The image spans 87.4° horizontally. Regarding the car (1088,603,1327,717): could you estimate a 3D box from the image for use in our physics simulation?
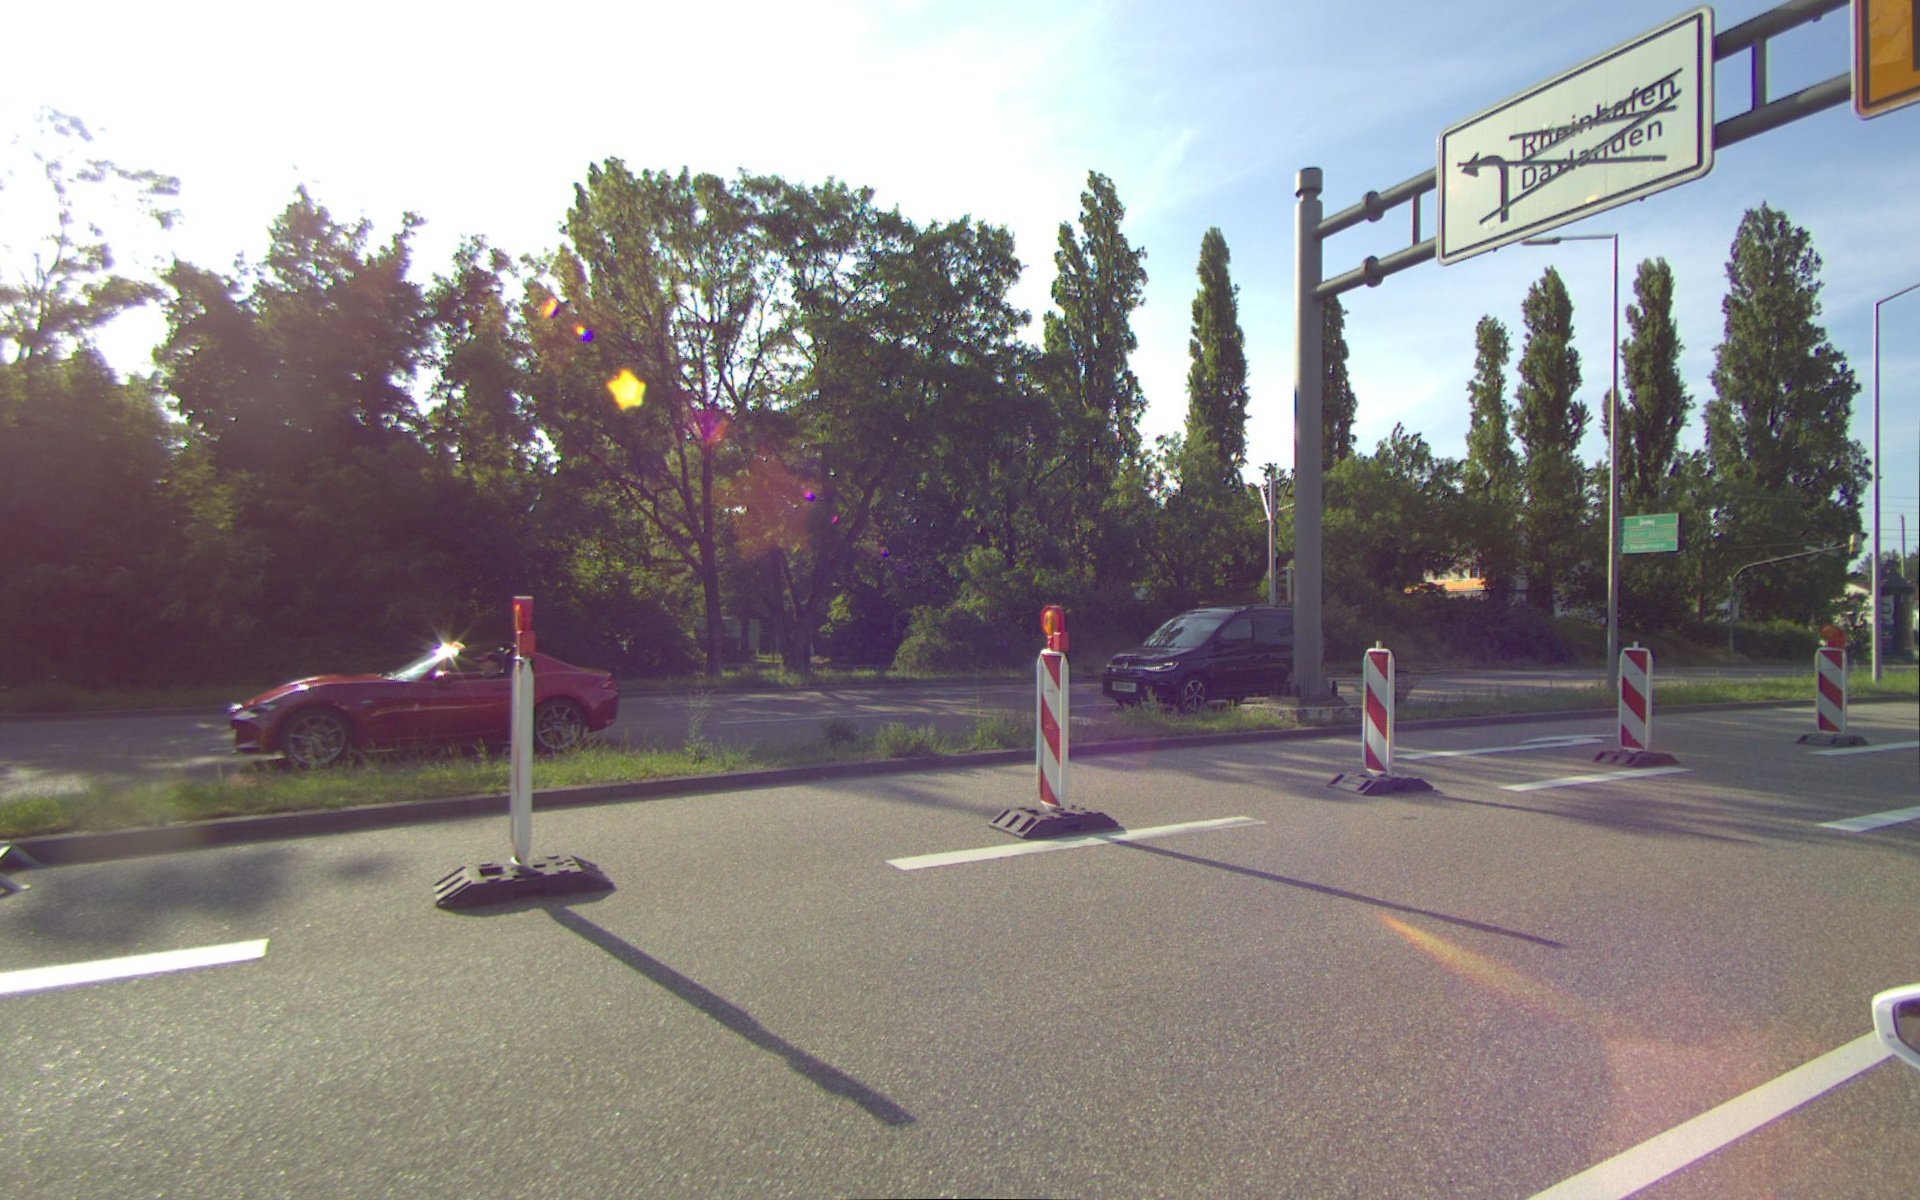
[{"bbox_3d":[4.445,1.009,17.888,4.075,1.831,1.776,1,-1,-30],"label":"car"}]

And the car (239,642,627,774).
[{"bbox_3d":[-5.772,1.103,11.232,3.634,1.173,1.502,1,0,-34],"label":"car"}]
